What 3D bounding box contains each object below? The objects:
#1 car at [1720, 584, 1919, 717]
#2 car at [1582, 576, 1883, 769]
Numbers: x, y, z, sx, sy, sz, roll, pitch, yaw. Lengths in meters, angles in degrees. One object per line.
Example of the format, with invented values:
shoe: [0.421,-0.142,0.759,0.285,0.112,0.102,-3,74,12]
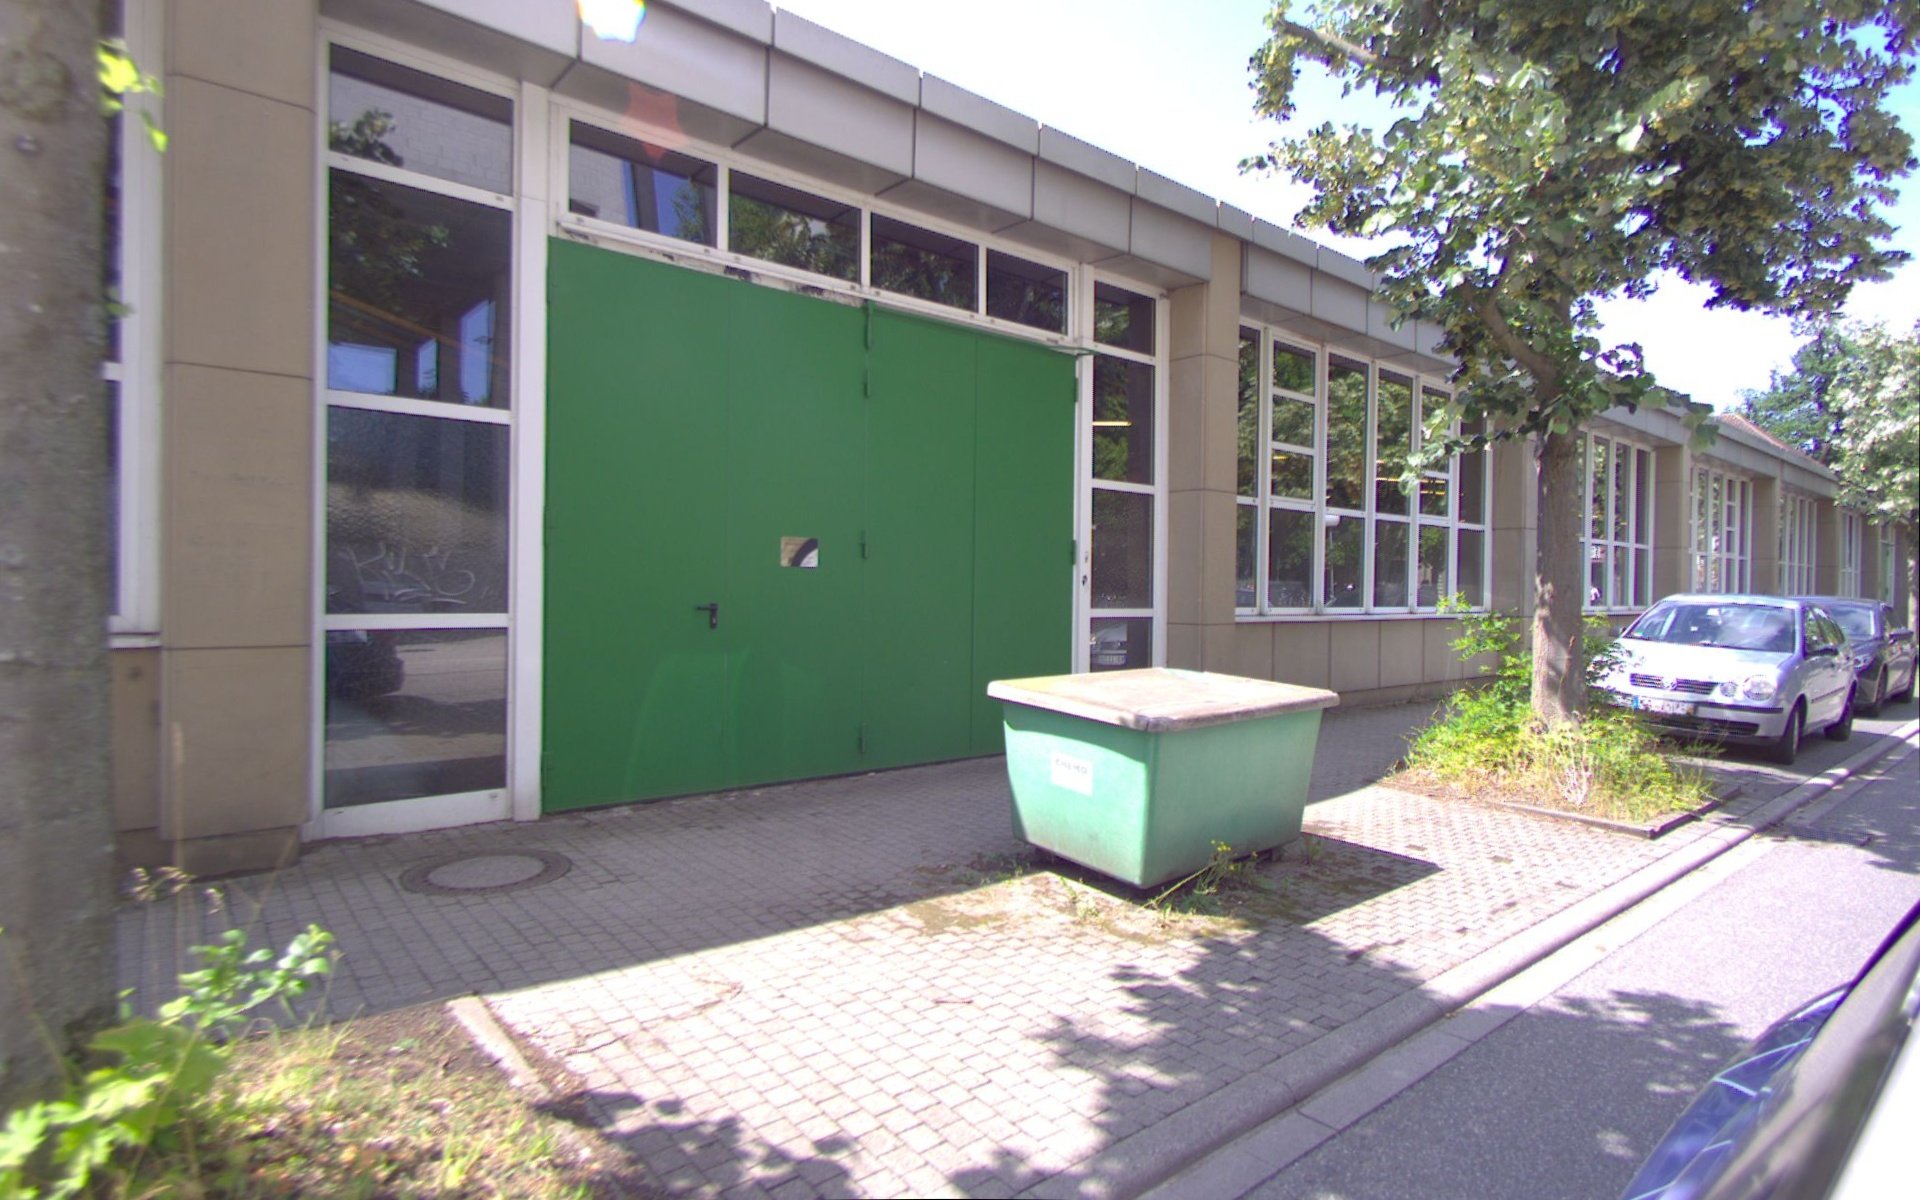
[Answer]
car: [11.775,0.575,13.652,3.751,1.481,1.621,0,3,-41]
car: [7.842,0.572,10.159,3.751,1.530,1.621,0,3,-41]
